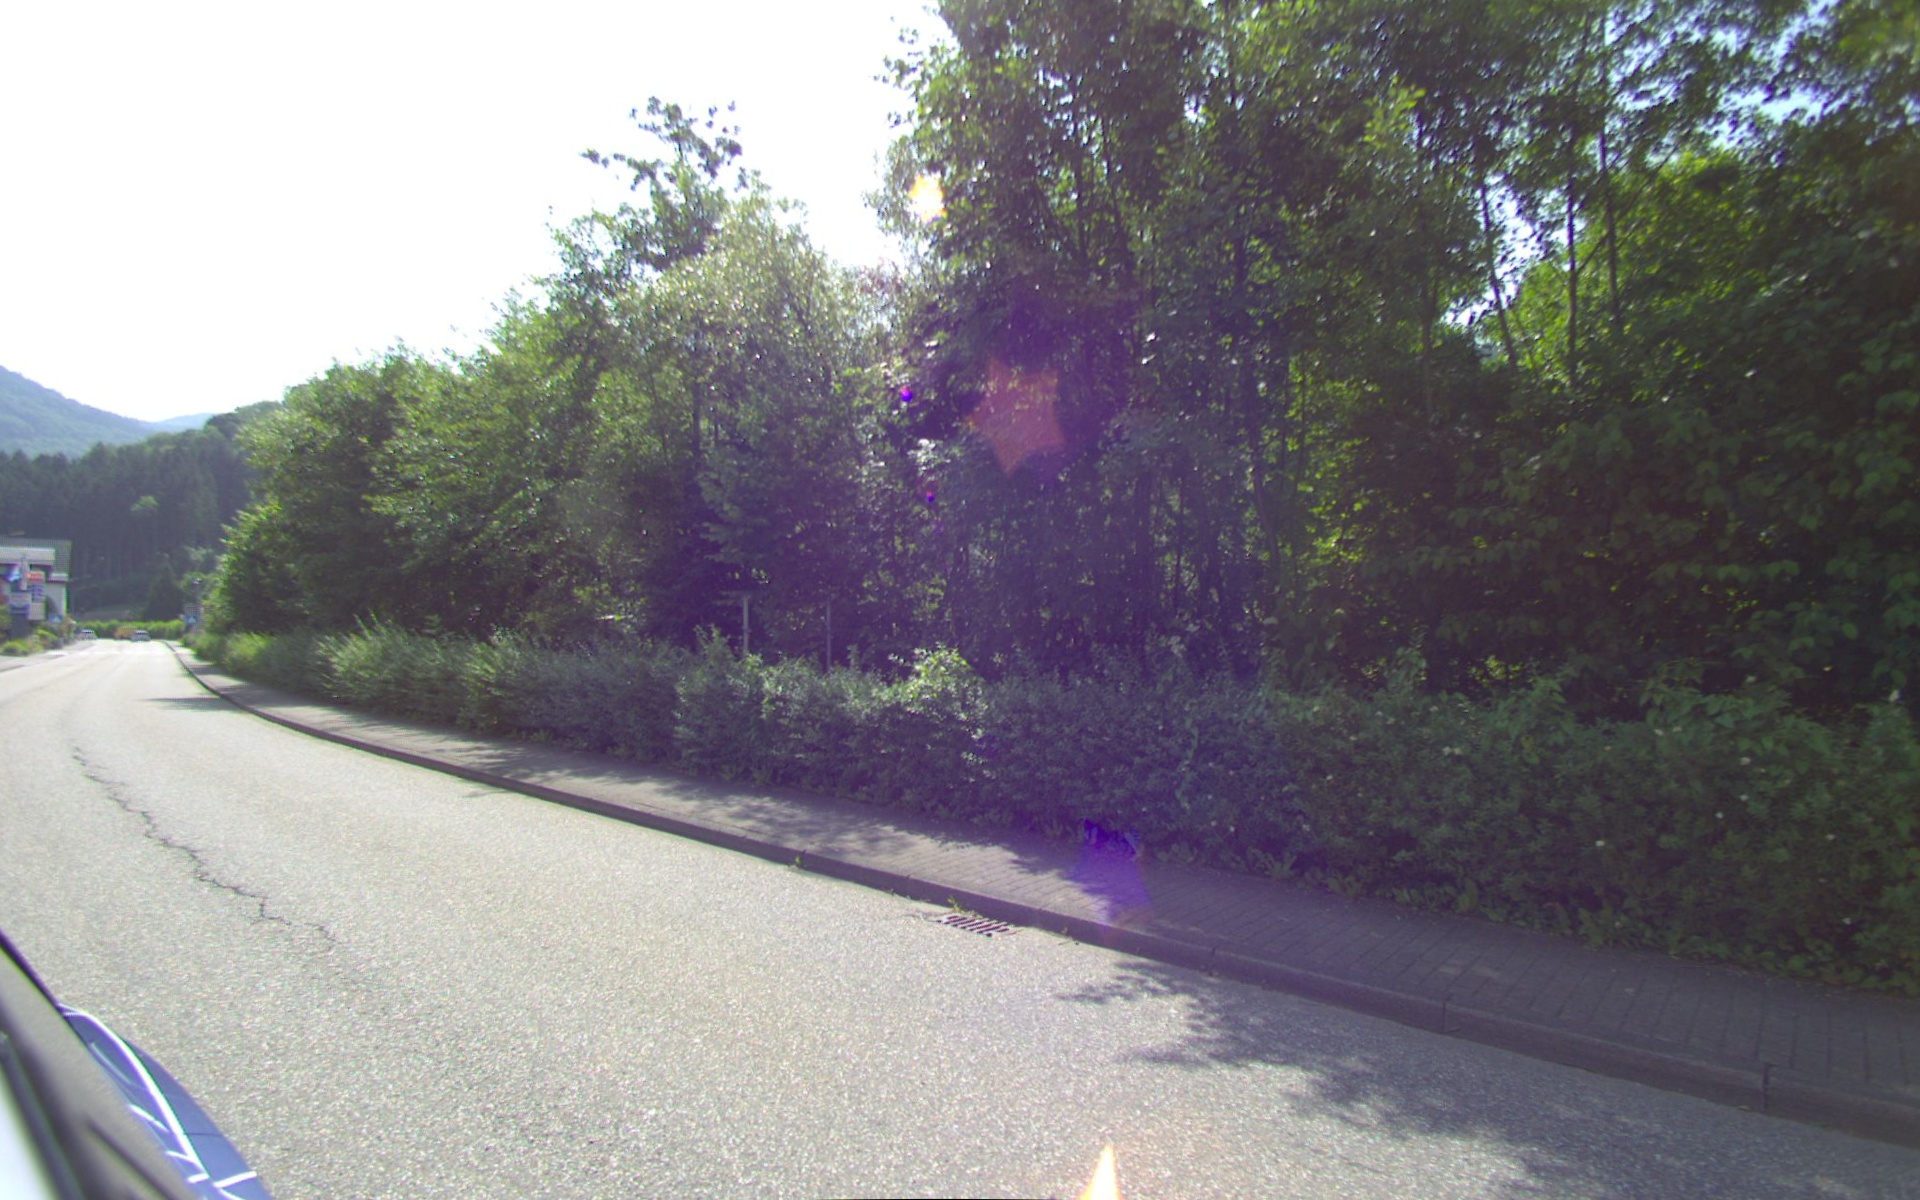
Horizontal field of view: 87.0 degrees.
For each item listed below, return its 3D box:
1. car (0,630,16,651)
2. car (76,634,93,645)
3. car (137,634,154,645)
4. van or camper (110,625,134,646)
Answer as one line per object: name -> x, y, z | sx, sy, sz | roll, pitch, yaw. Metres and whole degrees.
car -> -76.084, 3.175, 79.984 | 1.670, 1.589, 3.919 | 6, -5, -37
car -> -128.522, 5.773, 148.603 | 1.584, 1.416, 3.834 | 5, -4, -39
car -> -109.153, 5.286, 135.692 | 1.569, 1.494, 3.765 | 3, -4, -37
van or camper -> -123.450, 5.276, 149.108 | 2.328, 2.976, 8.066 | 3, -4, -38
